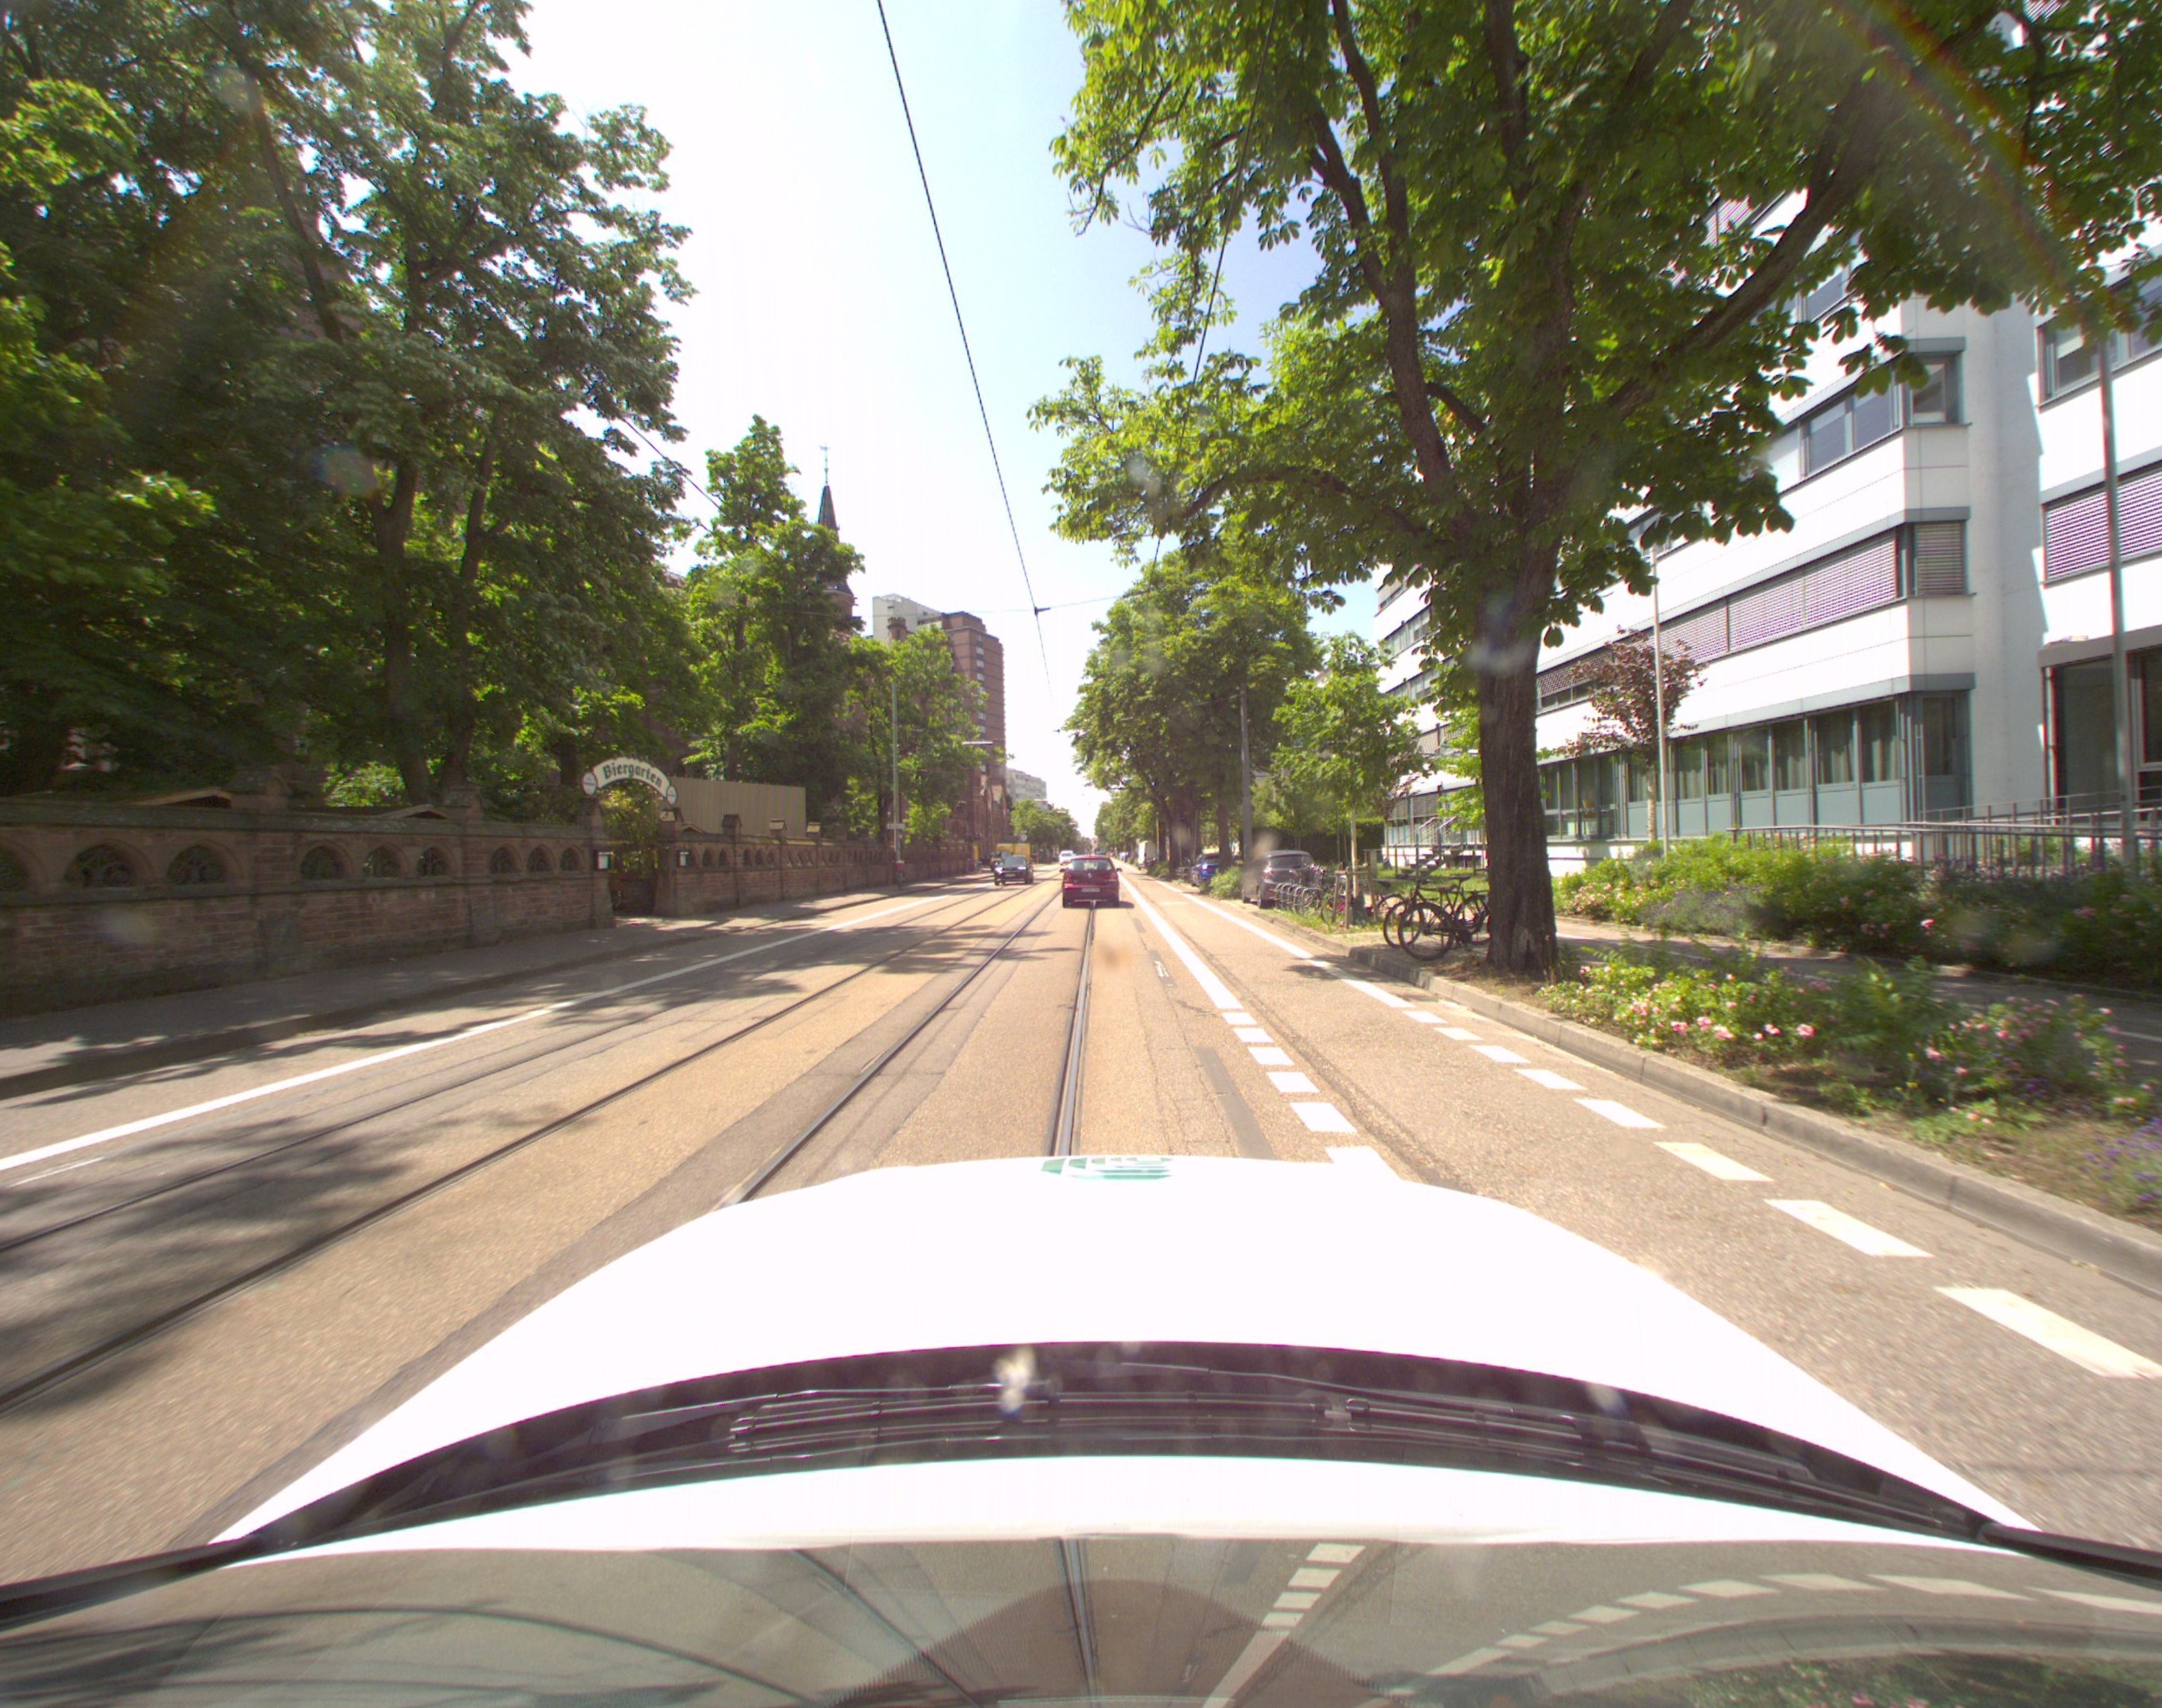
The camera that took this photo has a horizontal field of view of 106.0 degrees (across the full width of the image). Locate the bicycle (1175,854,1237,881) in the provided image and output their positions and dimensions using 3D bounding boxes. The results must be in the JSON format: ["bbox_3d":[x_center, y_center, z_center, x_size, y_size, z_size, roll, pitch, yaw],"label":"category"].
[{"bbox_3d":[6.391,0.687,41.642,3.060,1.313,0.781,0,0,-1],"label":"bicycle"}]

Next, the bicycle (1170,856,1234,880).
[{"bbox_3d":[6.017,0.706,40.547,3.060,1.154,0.781,0,0,-1],"label":"bicycle"}]

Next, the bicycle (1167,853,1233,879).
[{"bbox_3d":[6.208,0.634,42.729,3.357,1.313,0.781,0,0,-1],"label":"bicycle"}]

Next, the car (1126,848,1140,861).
[{"bbox_3d":[6.605,0.029,103.745,1.668,1.656,4.001,0,0,1],"label":"car"}]

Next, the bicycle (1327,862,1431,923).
[{"bbox_3d":[5.611,0.719,15.378,1.745,1.085,0.548,-2,0,0],"label":"bicycle"}]

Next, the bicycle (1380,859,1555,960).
[{"bbox_3d":[4.914,0.688,10.430,1.877,1.182,0.694,-2,-1,0],"label":"bicycle"}]

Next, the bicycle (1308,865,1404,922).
[{"bbox_3d":[5.552,0.798,16.510,1.745,1.085,0.548,-2,0,0],"label":"bicycle"}]

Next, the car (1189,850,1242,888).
[{"bbox_3d":[5.667,0.603,34.729,1.682,1.468,3.880,-2,0,1],"label":"car"}]

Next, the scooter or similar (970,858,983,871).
[{"bbox_3d":[-8.910,0.897,69.451,1.092,1.155,0.524,0,0,-20],"label":"scooter or similar"}]

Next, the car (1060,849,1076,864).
[{"bbox_3d":[-1.824,0.324,111.894,1.986,1.854,4.683,-2,0,1],"label":"car"}]

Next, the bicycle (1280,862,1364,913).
[{"bbox_3d":[5.479,0.763,18.552,1.745,1.085,0.548,-2,0,0],"label":"bicycle"}]

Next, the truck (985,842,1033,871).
[{"bbox_3d":[-7.353,0.242,84.133,2.351,2.787,7.352,-2,0,17],"label":"truck"}]

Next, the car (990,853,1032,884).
[{"bbox_3d":[-3.663,0.720,43.099,1.764,1.516,4.001,-2,0,1],"label":"car"}]

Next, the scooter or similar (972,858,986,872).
[{"bbox_3d":[-8.767,0.920,70.123,1.092,1.155,0.524,0,0,-20],"label":"scooter or similar"}]

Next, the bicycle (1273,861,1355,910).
[{"bbox_3d":[5.477,0.745,19.201,1.745,1.085,0.548,-2,0,0],"label":"bicycle"}]

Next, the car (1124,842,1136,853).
[{"bbox_3d":[7.229,-0.958,120.342,1.668,1.656,4.001,0,0,1],"label":"car"}]

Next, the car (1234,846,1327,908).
[{"bbox_3d":[5.457,0.578,22.691,1.682,1.503,3.628,-3,0,1],"label":"car"}]

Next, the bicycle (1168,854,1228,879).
[{"bbox_3d":[6.258,0.677,43.629,3.060,1.313,0.781,0,0,-1],"label":"bicycle"}]

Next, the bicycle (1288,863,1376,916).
[{"bbox_3d":[5.510,0.768,17.903,1.745,1.085,0.548,-2,0,0],"label":"bicycle"}]

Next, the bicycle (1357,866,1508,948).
[{"bbox_3d":[4.992,0.744,11.656,1.817,1.085,0.719,-2,-1,4],"label":"bicycle"}]

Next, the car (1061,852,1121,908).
[{"bbox_3d":[0.295,0.698,24.183,1.613,1.486,4.000,-2,0,1],"label":"car"}]

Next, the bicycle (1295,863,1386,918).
[{"bbox_3d":[5.497,0.766,17.293,1.745,1.085,0.548,-2,0,0],"label":"bicycle"}]

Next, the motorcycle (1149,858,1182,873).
[{"bbox_3d":[6.696,0.902,64.311,2.542,1.188,0.943,0,0,6],"label":"motorcycle"}]

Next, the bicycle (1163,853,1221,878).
[{"bbox_3d":[6.068,0.623,44.640,3.060,1.313,0.781,0,0,-1],"label":"bicycle"}]

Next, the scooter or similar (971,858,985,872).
[{"bbox_3d":[-8.755,0.892,68.932,1.092,1.155,0.524,0,0,-20],"label":"scooter or similar"}]

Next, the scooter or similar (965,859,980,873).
[{"bbox_3d":[-8.827,0.959,66.247,1.092,1.155,0.524,0,0,-20],"label":"scooter or similar"}]

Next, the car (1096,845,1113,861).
[{"bbox_3d":[2.953,-0.108,104.561,1.988,2.013,3.998,0,0,-1],"label":"car"}]

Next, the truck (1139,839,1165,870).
[{"bbox_3d":[6.287,0.042,72.344,1.986,2.662,4.876,0,0,1],"label":"truck"}]
